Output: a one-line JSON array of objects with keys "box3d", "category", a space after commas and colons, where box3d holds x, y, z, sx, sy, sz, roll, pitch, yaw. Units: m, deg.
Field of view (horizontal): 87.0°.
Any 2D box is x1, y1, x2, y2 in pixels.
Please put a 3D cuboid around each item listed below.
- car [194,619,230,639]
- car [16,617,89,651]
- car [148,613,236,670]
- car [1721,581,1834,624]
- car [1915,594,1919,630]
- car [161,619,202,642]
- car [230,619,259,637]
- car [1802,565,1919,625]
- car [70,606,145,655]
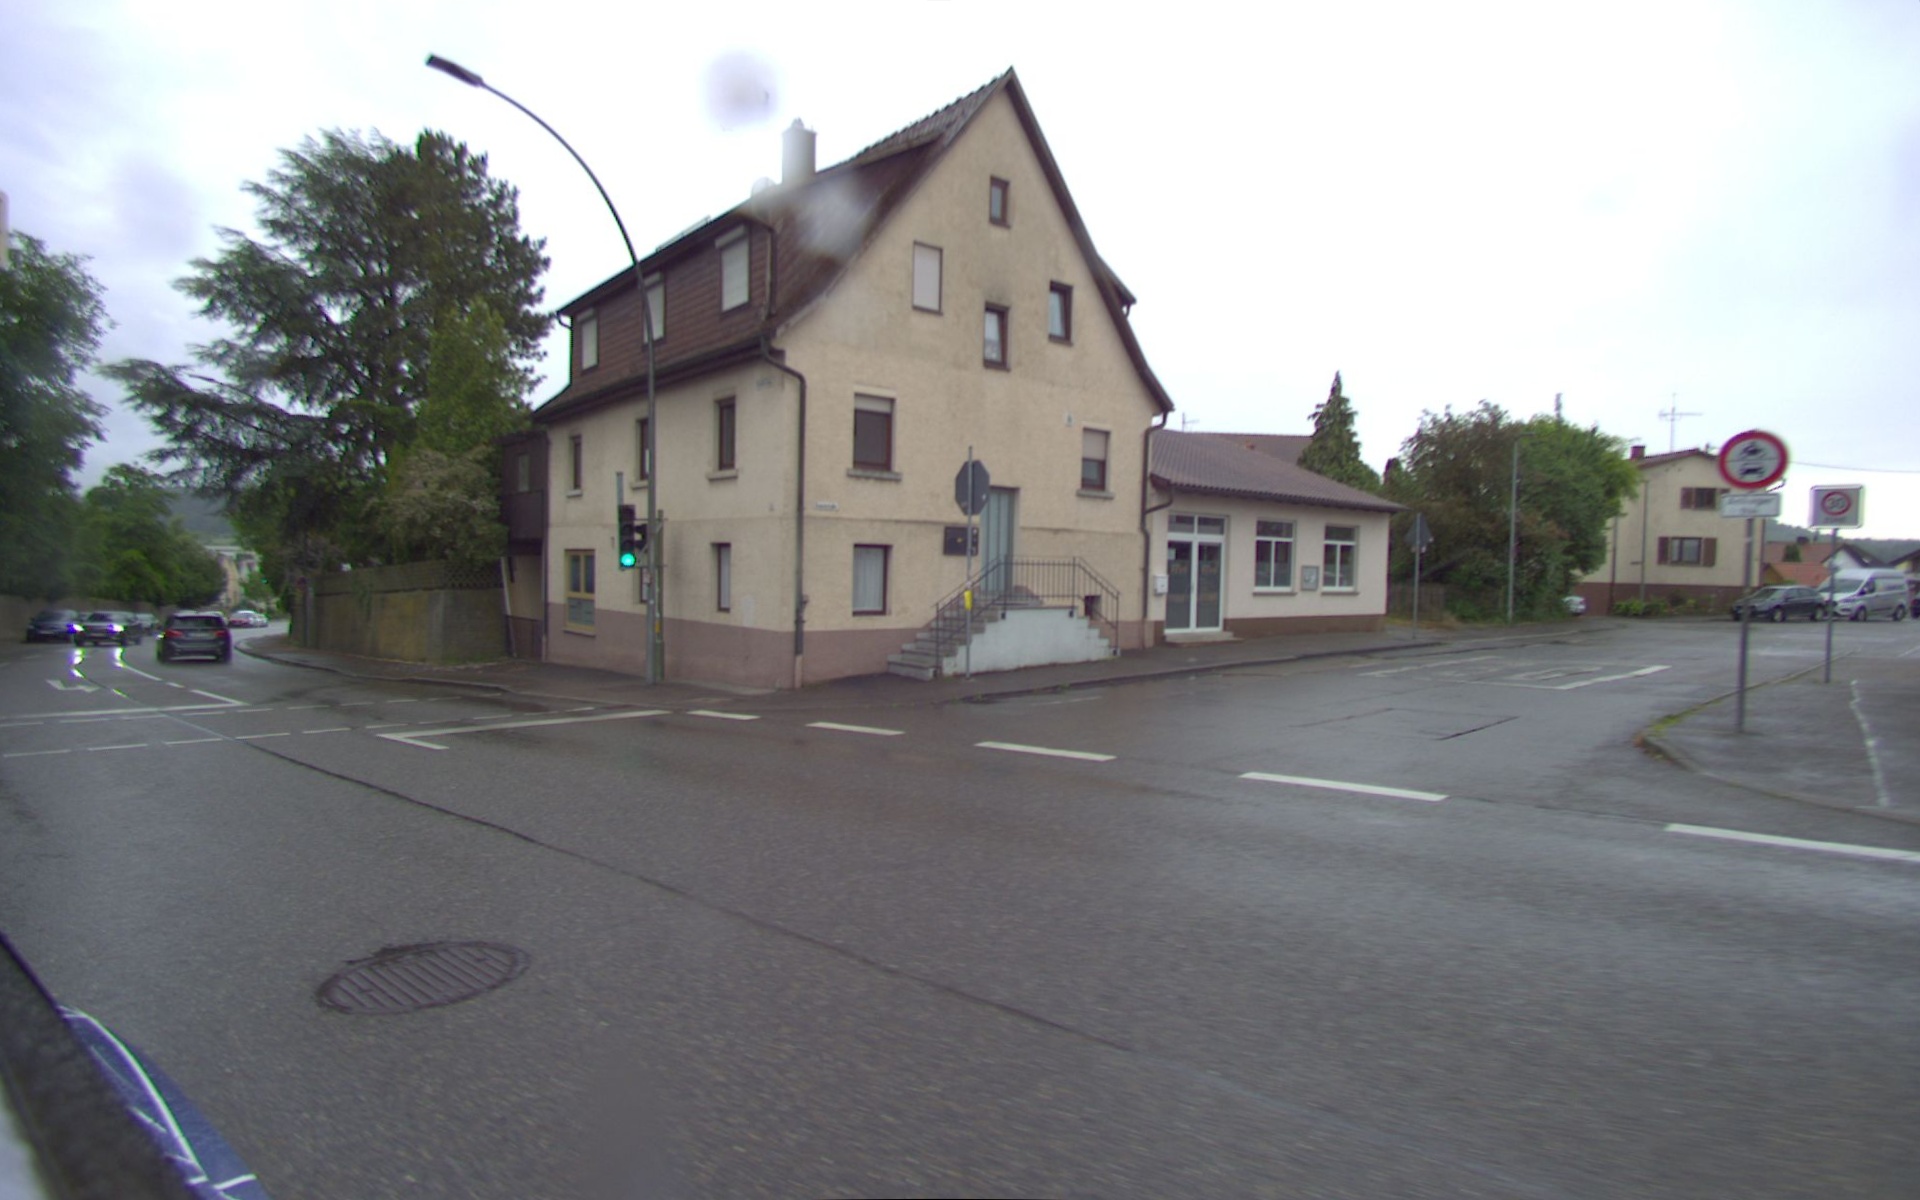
[{"box3d": [-63.796, 2.501, 86.379, 1.803, 1.642, 4.166, 1, -2, -28], "category": "car"}, {"box3d": [-42.939, 1.599, 47.977, 1.765, 1.544, 3.812, 1, -2, -30], "category": "car"}, {"box3d": [-24.799, 1.295, 32.628, 1.969, 1.719, 4.005, 1, -1, -41], "category": "car"}, {"box3d": [35.469, 0.127, 43.911, 3.931, 1.763, 2.006, 1, -1, -19], "category": "car"}, {"box3d": [47.269, 0.602, 47.331, 3.932, 1.691, 2.006, 1, -1, -15], "category": "car"}, {"box3d": [-57.574, 2.240, 74.887, 1.803, 1.642, 4.166, 1, -2, -30], "category": "car"}, {"box3d": [-74.518, 2.903, 105.423, 1.917, 1.807, 4.199, 1, -1, -29], "category": "car"}, {"box3d": [40.244, -0.175, 45.196, 4.214, 2.560, 2.006, 1, -1, -15], "category": "car"}, {"box3d": [-37.896, 1.299, 45.075, 1.966, 2.029, 4.012, 0, 0, -32], "category": "car"}]
